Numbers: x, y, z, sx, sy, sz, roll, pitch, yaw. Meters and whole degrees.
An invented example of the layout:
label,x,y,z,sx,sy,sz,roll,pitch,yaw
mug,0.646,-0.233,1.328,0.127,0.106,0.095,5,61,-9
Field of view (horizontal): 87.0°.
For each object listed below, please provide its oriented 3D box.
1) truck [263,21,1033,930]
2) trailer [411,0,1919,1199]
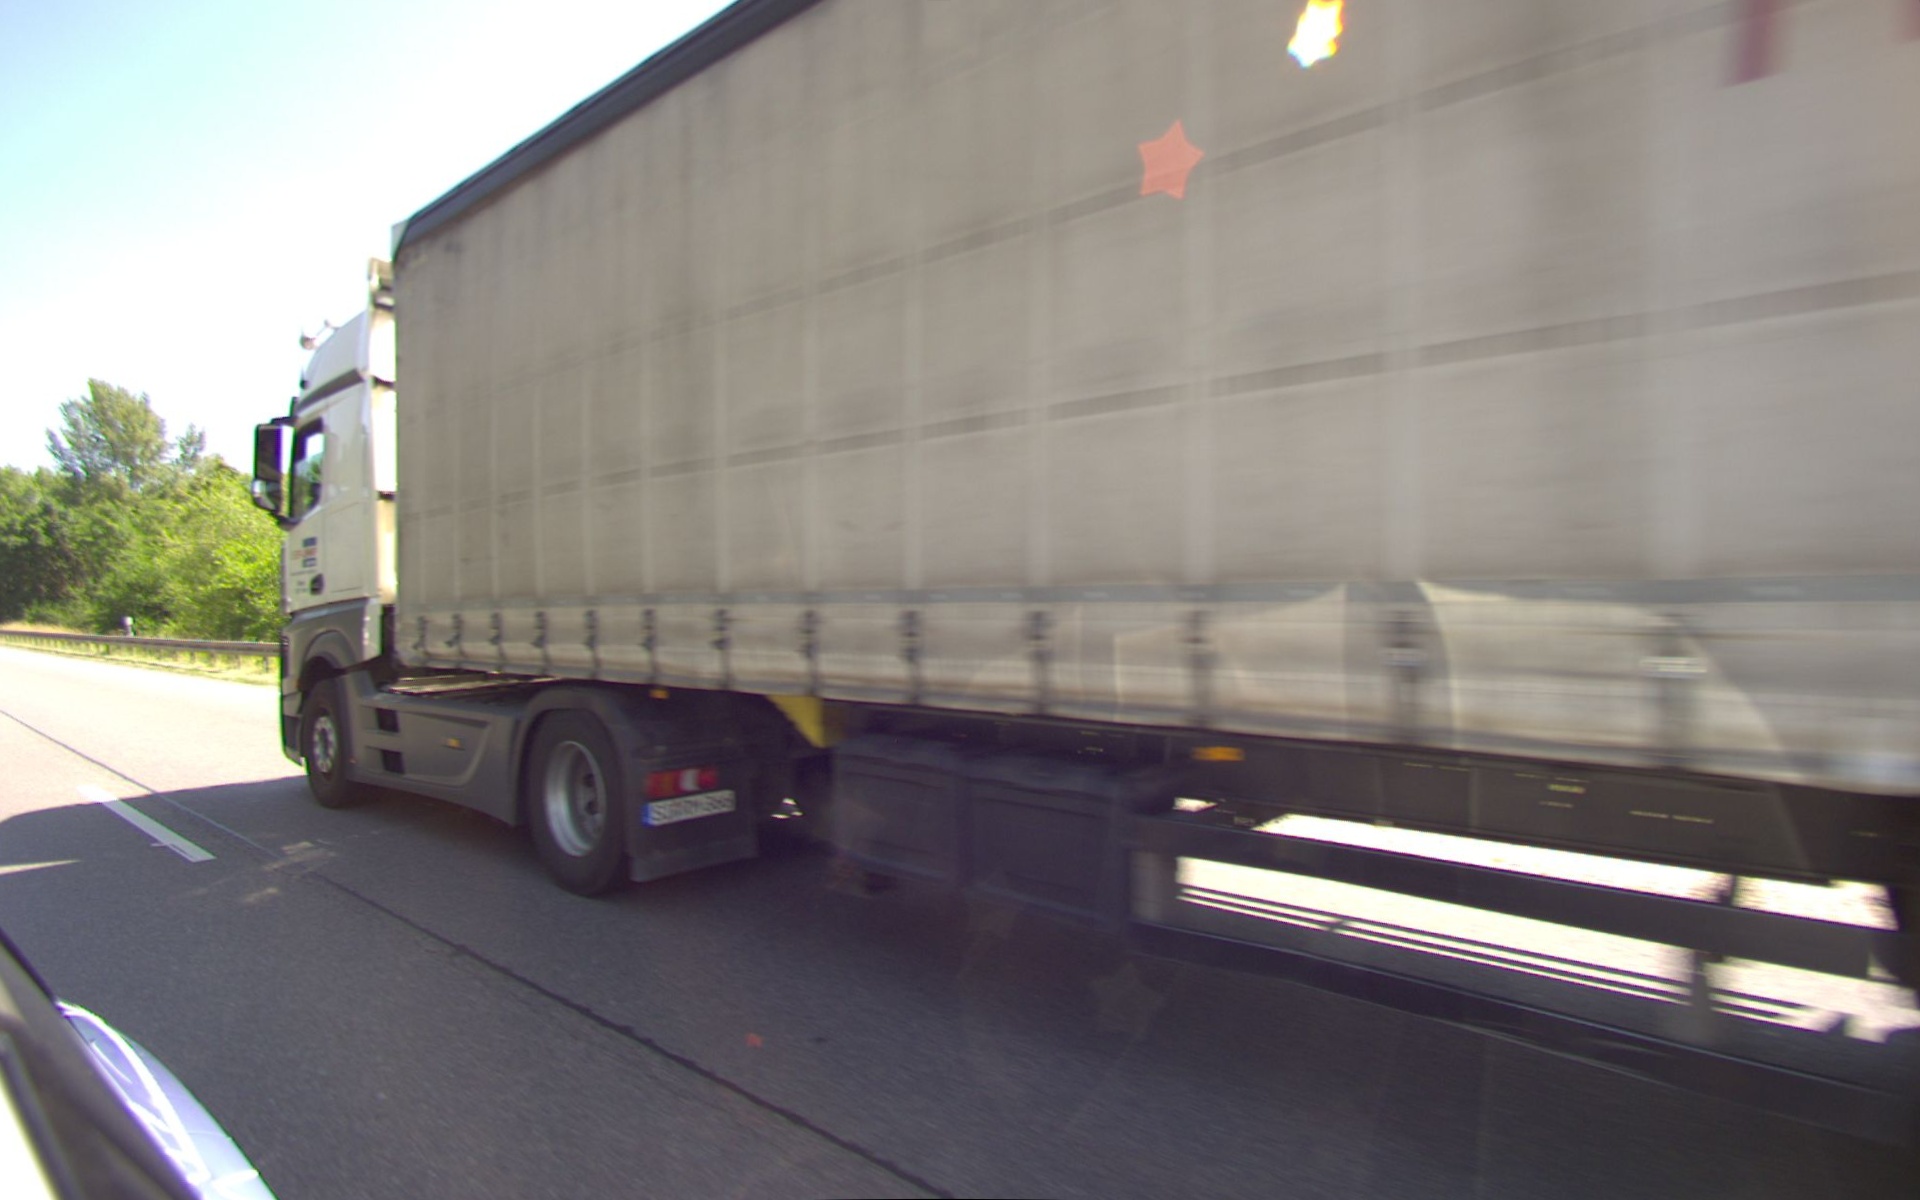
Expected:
label,x,y,z,sx,sy,sz,roll,pitch,yaw
truck,-2.643,-0.519,7.464,5.904,4.030,2.734,-1,-1,41
trailer,2.649,-0.636,2.798,13.679,4.030,2.734,-1,-1,41
